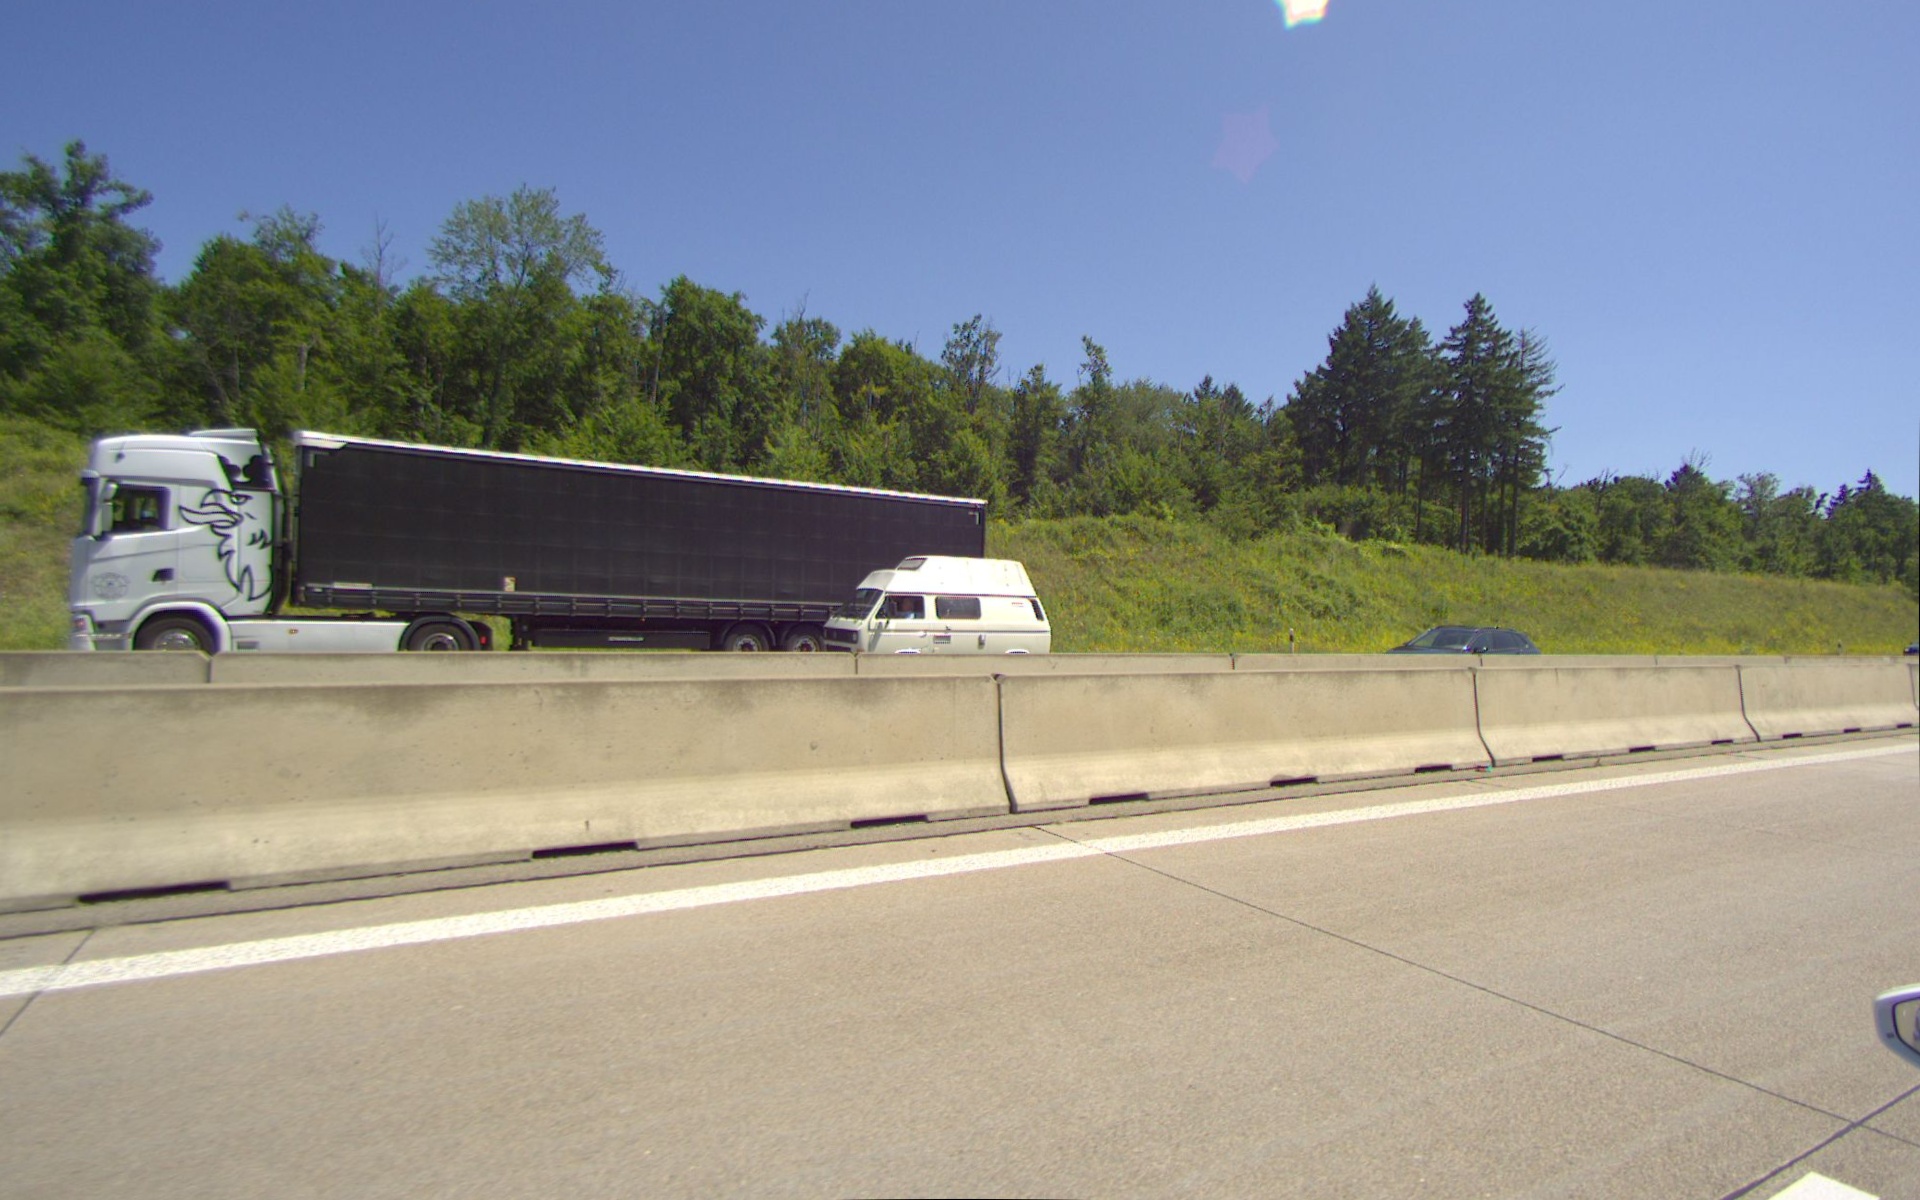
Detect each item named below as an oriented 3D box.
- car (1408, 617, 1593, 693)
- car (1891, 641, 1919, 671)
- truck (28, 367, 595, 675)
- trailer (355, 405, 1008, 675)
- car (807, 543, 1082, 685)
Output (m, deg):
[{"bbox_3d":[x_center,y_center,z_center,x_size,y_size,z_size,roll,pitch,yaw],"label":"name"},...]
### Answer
[{"bbox_3d":[12.596,1.259,23.373,3.994,1.604,1.984,2,-1,-30],"label":"car"},{"bbox_3d":[53.818,3.139,55.826,3.994,1.604,1.984,2,-1,-30],"label":"car"},{"bbox_3d":[-11.147,-1.032,18.341,7.891,4.564,3.241,3,-1,-30],"label":"truck"},{"bbox_3d":[-5.346,-0.780,21.700,12.965,4.564,3.241,3,-1,-30],"label":"trailer"},{"bbox_3d":[-0.249,0.308,19.914,5.117,2.519,1.984,2,0,-30],"label":"car"}]
